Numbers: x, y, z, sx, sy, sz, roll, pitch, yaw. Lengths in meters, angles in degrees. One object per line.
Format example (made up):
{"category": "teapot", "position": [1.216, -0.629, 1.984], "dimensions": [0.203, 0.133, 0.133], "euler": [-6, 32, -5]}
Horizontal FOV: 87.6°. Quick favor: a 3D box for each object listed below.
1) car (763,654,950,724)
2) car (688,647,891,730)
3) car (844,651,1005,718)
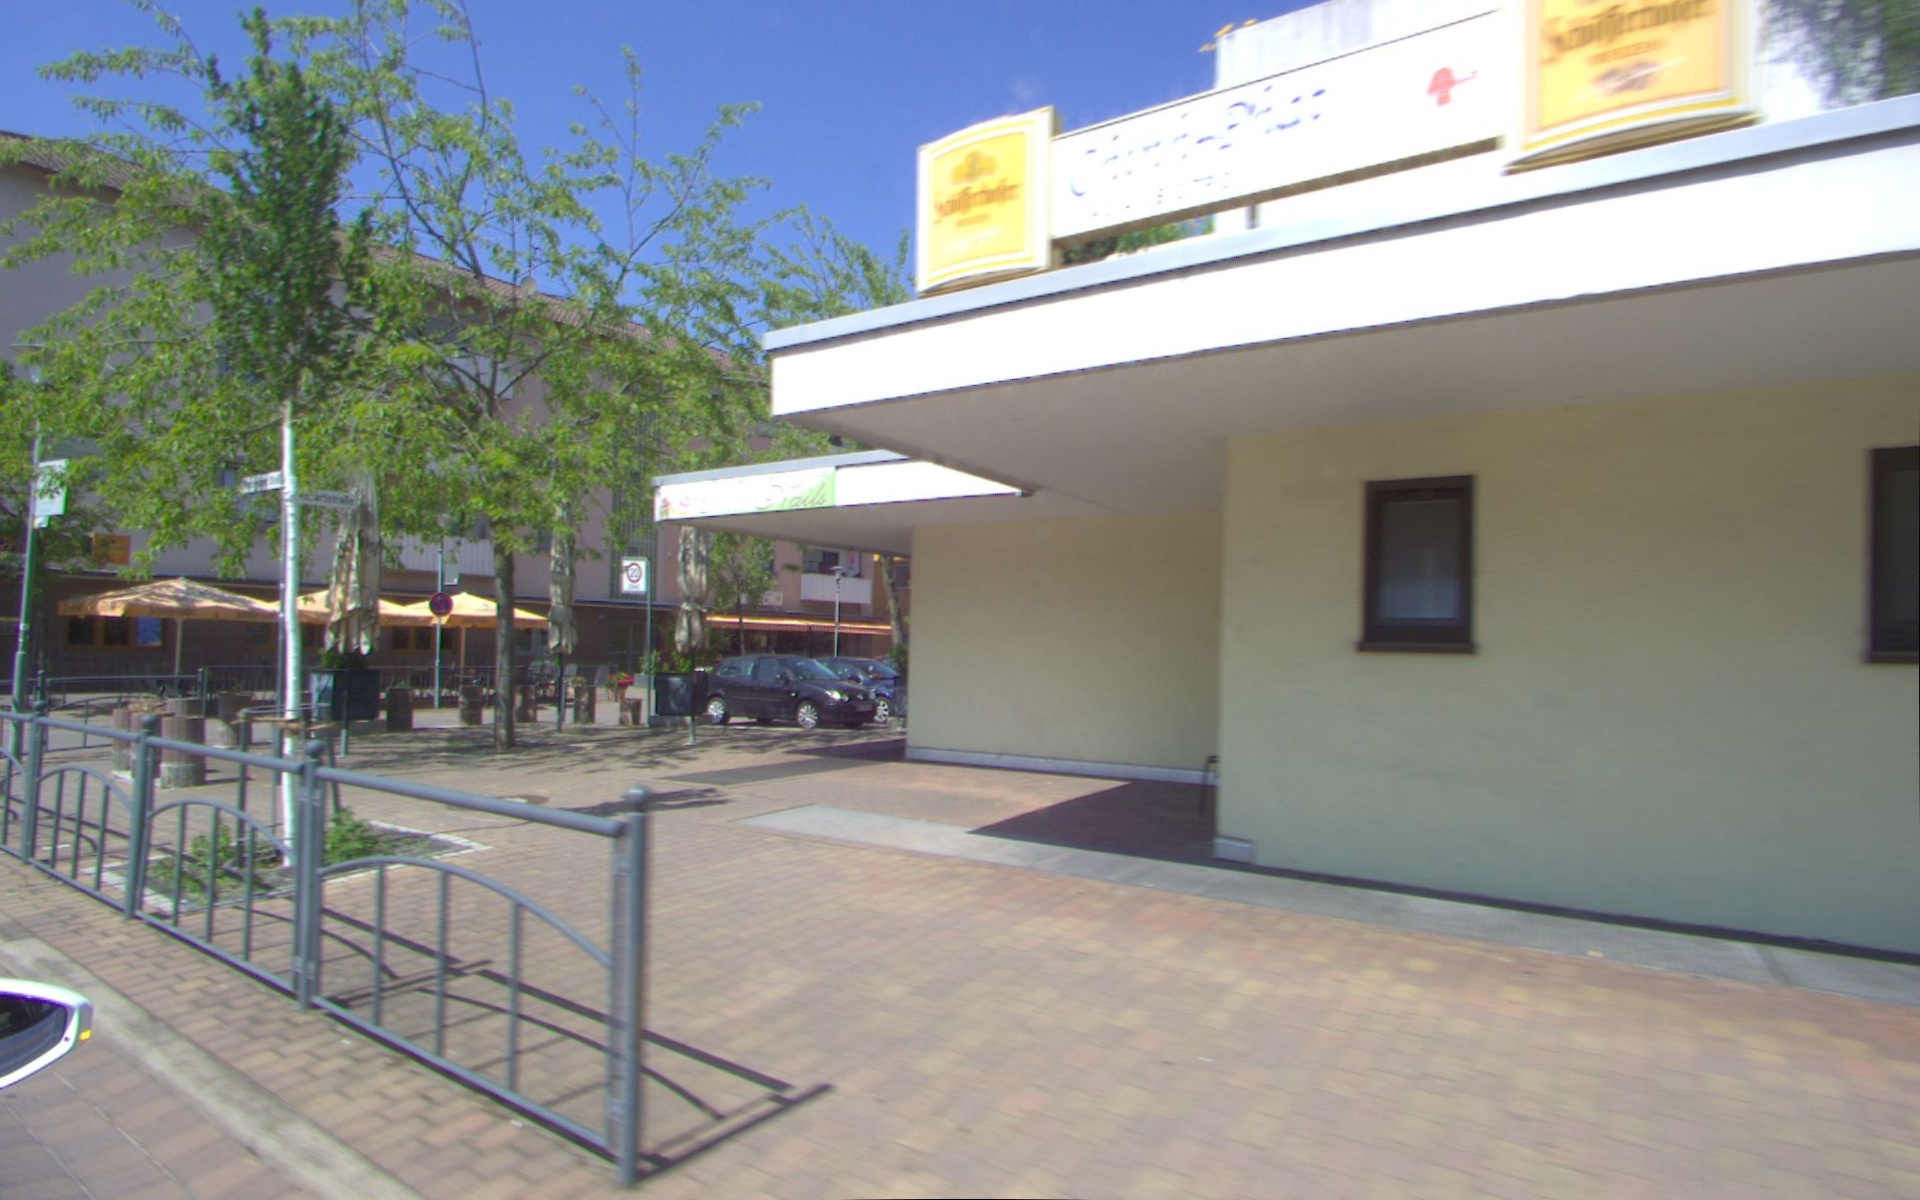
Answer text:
{"category": "car", "position": [-2.399, 1.980, 22.992], "dimensions": [4.052, 1.449, 1.776], "euler": [-2, -3, 32]}
{"category": "car", "position": [-3.538, 1.767, 20.659], "dimensions": [3.913, 1.528, 1.765], "euler": [-1, -3, 31]}
{"category": "car", "position": [-0.900, 2.066, 24.985], "dimensions": [3.682, 1.553, 1.757], "euler": [-2, -3, 32]}
